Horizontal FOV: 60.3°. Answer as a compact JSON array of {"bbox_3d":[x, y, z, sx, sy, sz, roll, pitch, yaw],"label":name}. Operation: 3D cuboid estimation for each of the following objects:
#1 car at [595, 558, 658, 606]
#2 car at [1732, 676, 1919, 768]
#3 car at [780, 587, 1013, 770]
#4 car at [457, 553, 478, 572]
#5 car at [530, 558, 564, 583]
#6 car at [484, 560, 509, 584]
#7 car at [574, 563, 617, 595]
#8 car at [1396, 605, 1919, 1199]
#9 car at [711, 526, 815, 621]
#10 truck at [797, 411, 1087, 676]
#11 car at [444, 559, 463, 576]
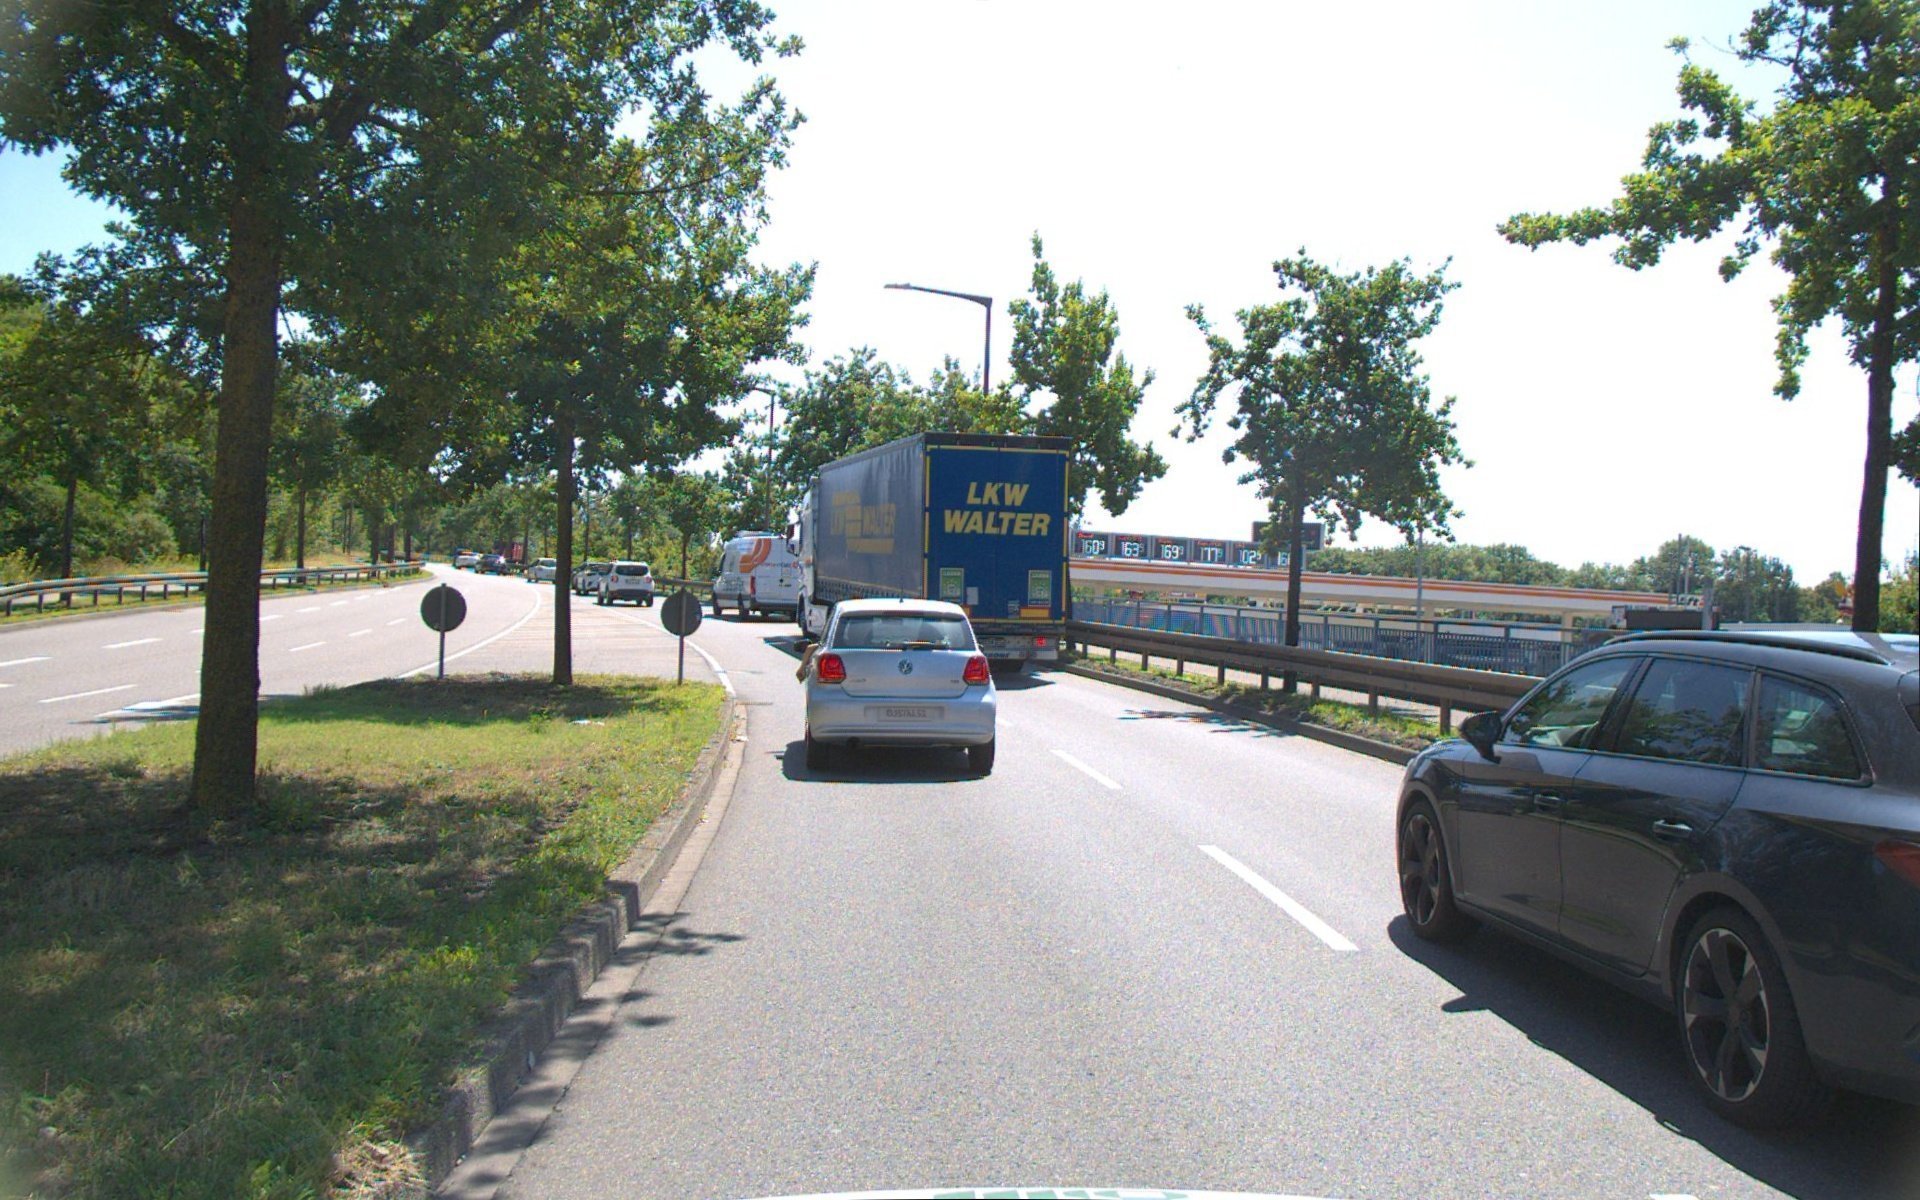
[{"bbox_3d":[-13.046,-0.671,64.498,1.874,1.748,4.201,2,-1,-18],"label":"car"},{"bbox_3d":[18.407,2.499,33.854,4.505,1.689,1.594,2,-1,-5],"label":"car"},{"bbox_3d":[-0.697,0.669,15.347,1.616,1.464,3.527,2,-1,-11],"label":"car"},{"bbox_3d":[-38.864,-2.919,130.582,1.433,1.337,3.622,2,-1,-16],"label":"car"},{"bbox_3d":[-24.474,-1.748,97.911,1.584,1.384,3.641,2,0,-20],"label":"car"},{"bbox_3d":[-32.727,-1.965,116.760,1.638,1.491,3.565,2,-1,-16],"label":"car"},{"bbox_3d":[-16.874,-0.958,76.477,1.472,1.384,3.641,2,0,-20],"label":"car"},{"bbox_3d":[3.042,0.804,6.024,1.573,1.481,4.232,2,-1,-3],"label":"car"},{"bbox_3d":[-6.668,-0.910,55.307,2.143,2.951,6.324,2,1,-19],"label":"car"},{"bbox_3d":[-1.057,-0.942,35.305,2.784,4.272,16.422,2,0,-12],"label":"truck"},{"bbox_3d":[-44.489,-2.853,145.280,1.394,1.337,3.323,2,-1,-16],"label":"car"}]
